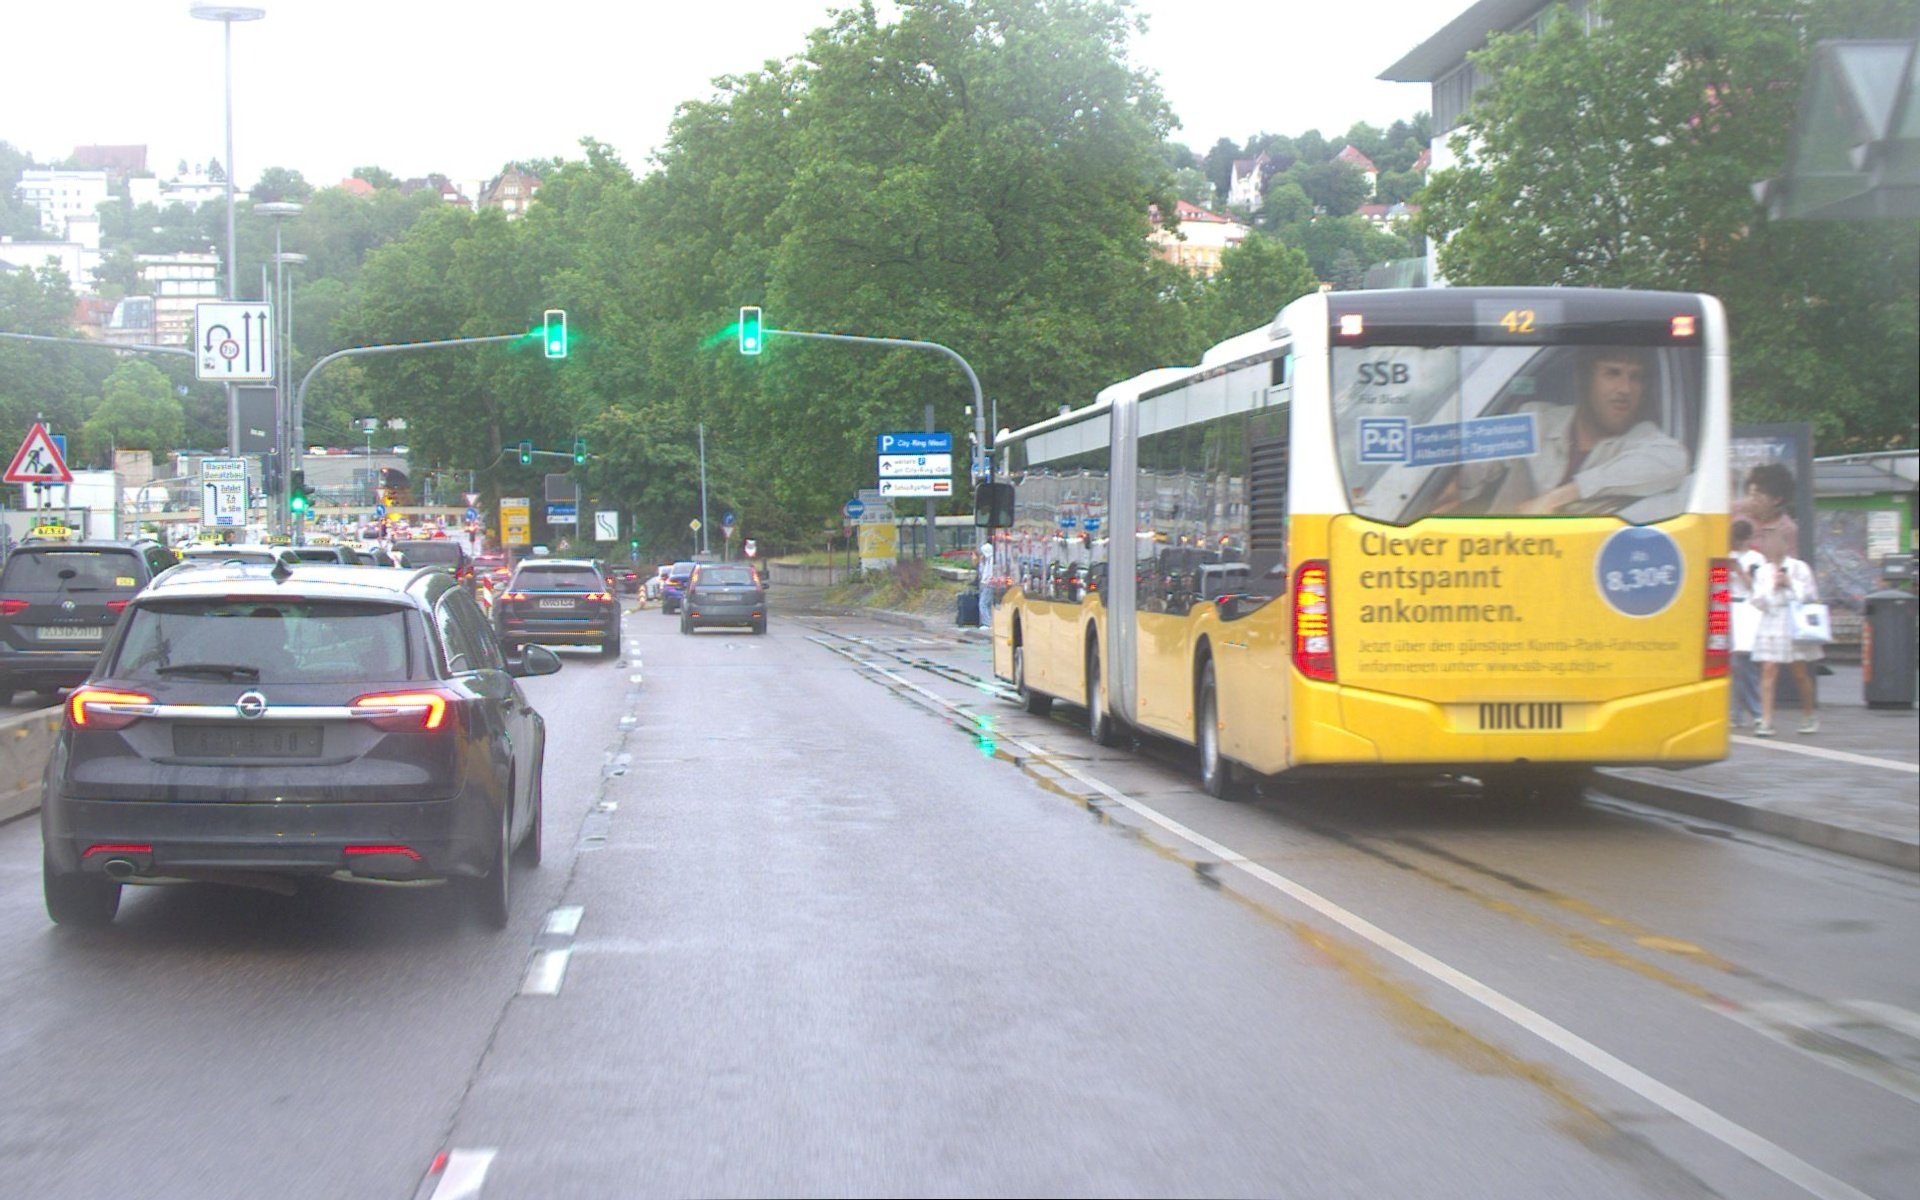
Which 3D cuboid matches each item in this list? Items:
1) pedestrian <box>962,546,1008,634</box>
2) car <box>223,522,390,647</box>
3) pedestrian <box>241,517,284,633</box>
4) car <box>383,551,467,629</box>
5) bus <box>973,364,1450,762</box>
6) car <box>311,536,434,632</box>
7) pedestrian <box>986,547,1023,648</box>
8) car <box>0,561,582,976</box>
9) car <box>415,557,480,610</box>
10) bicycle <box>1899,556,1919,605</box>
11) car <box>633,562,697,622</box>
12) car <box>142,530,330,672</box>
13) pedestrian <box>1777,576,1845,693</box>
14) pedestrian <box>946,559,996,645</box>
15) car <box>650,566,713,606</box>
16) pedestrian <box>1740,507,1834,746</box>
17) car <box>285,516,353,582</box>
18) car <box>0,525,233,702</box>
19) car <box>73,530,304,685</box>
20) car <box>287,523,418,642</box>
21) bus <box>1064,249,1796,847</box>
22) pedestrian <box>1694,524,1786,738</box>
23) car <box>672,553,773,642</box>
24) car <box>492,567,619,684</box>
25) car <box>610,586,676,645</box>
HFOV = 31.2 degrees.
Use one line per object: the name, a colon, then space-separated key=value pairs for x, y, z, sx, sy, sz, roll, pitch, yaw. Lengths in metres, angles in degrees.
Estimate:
pedestrian: x=0.530 y=-0.212 z=71.678 sx=0.745 sy=1.798 sz=0.710 roll=-1 pitch=0 yaw=-19
car: x=-9.846 y=-0.255 z=52.129 sx=1.993 sy=1.781 sz=4.848 roll=-1 pitch=1 yaw=-5
pedestrian: x=-12.139 y=-0.441 z=59.849 sx=0.621 sy=2.007 sz=0.836 roll=0 pitch=1 yaw=-5
car: x=-13.211 y=-0.251 z=85.108 sx=1.993 sy=1.839 sz=5.063 roll=1 pitch=0 yaw=-8
bus: x=2.068 y=-0.316 z=32.498 sx=3.113 sy=3.194 sz=9.243 roll=1 pitch=0 yaw=-4
car: x=-10.832 y=-0.312 z=63.652 sx=1.786 sy=1.680 sz=4.667 roll=-1 pitch=1 yaw=-4
pedestrian: x=0.943 y=-0.056 z=73.117 sx=0.554 sy=2.138 sz=0.668 roll=-1 pitch=0 yaw=-19
car: x=-2.756 y=0.584 z=14.923 sx=1.877 sy=1.503 sz=4.852 roll=0 pitch=1 yaw=-2
car: x=-15.048 y=-0.491 z=101.035 sx=1.823 sy=1.506 sz=4.491 roll=1 pitch=0 yaw=-8
bicycle: x=21.395 y=-0.450 z=76.324 sx=0.616 sy=1.052 sz=1.996 roll=-2 pitch=1 yaw=3
car: x=-7.958 y=-0.228 z=92.775 sx=1.674 sy=1.576 sz=3.240 roll=1 pitch=0 yaw=-5
car: x=-9.646 y=-0.012 z=46.127 sx=1.993 sy=1.781 sz=4.455 roll=-1 pitch=1 yaw=-6
pedestrian: x=9.124 y=0.362 z=36.858 sx=0.514 sy=1.228 sz=0.770 roll=-1 pitch=0 yaw=-1
pedestrian: x=0.238 y=0.040 z=74.528 sx=0.786 sy=1.832 sz=0.950 roll=-1 pitch=1 yaw=-19
car: x=-11.231 y=-0.578 z=138.529 sx=1.813 sy=1.569 sz=4.001 roll=1 pitch=0 yaw=-15
pedestrian: x=6.415 y=0.198 z=26.685 sx=0.695 sy=1.830 sz=0.555 roll=0 pitch=1 yaw=13
car: x=-20.361 y=-1.601 z=109.295 sx=1.993 sy=2.007 sz=5.371 roll=1 pitch=0 yaw=-9
car: x=-8.680 y=0.104 z=34.883 sx=1.993 sy=1.648 sz=4.642 roll=-1 pitch=1 yaw=-5
car: x=-9.117 y=0.047 z=41.014 sx=2.049 sy=1.706 sz=5.056 roll=-1 pitch=1 yaw=-6
car: x=-10.131 y=-0.304 z=57.583 sx=1.713 sy=1.885 sz=4.611 roll=-1 pitch=1 yaw=-5
bus: x=2.718 y=-0.296 z=23.350 sx=3.141 sy=3.236 sz=9.136 roll=1 pitch=0 yaw=-4
pedestrian: x=6.318 y=0.246 z=27.855 sx=0.609 sy=1.717 sz=0.592 roll=0 pitch=1 yaw=0
car: x=-4.788 y=-0.057 z=68.919 sx=1.851 sy=1.711 sz=4.001 roll=1 pitch=0 yaw=-6
car: x=-6.105 y=0.352 z=52.166 sx=1.830 sy=1.680 sz=4.135 roll=-1 pitch=1 yaw=-6
car: x=-9.521 y=0.441 z=103.029 sx=1.903 sy=1.711 sz=4.001 roll=1 pitch=0 yaw=-6
